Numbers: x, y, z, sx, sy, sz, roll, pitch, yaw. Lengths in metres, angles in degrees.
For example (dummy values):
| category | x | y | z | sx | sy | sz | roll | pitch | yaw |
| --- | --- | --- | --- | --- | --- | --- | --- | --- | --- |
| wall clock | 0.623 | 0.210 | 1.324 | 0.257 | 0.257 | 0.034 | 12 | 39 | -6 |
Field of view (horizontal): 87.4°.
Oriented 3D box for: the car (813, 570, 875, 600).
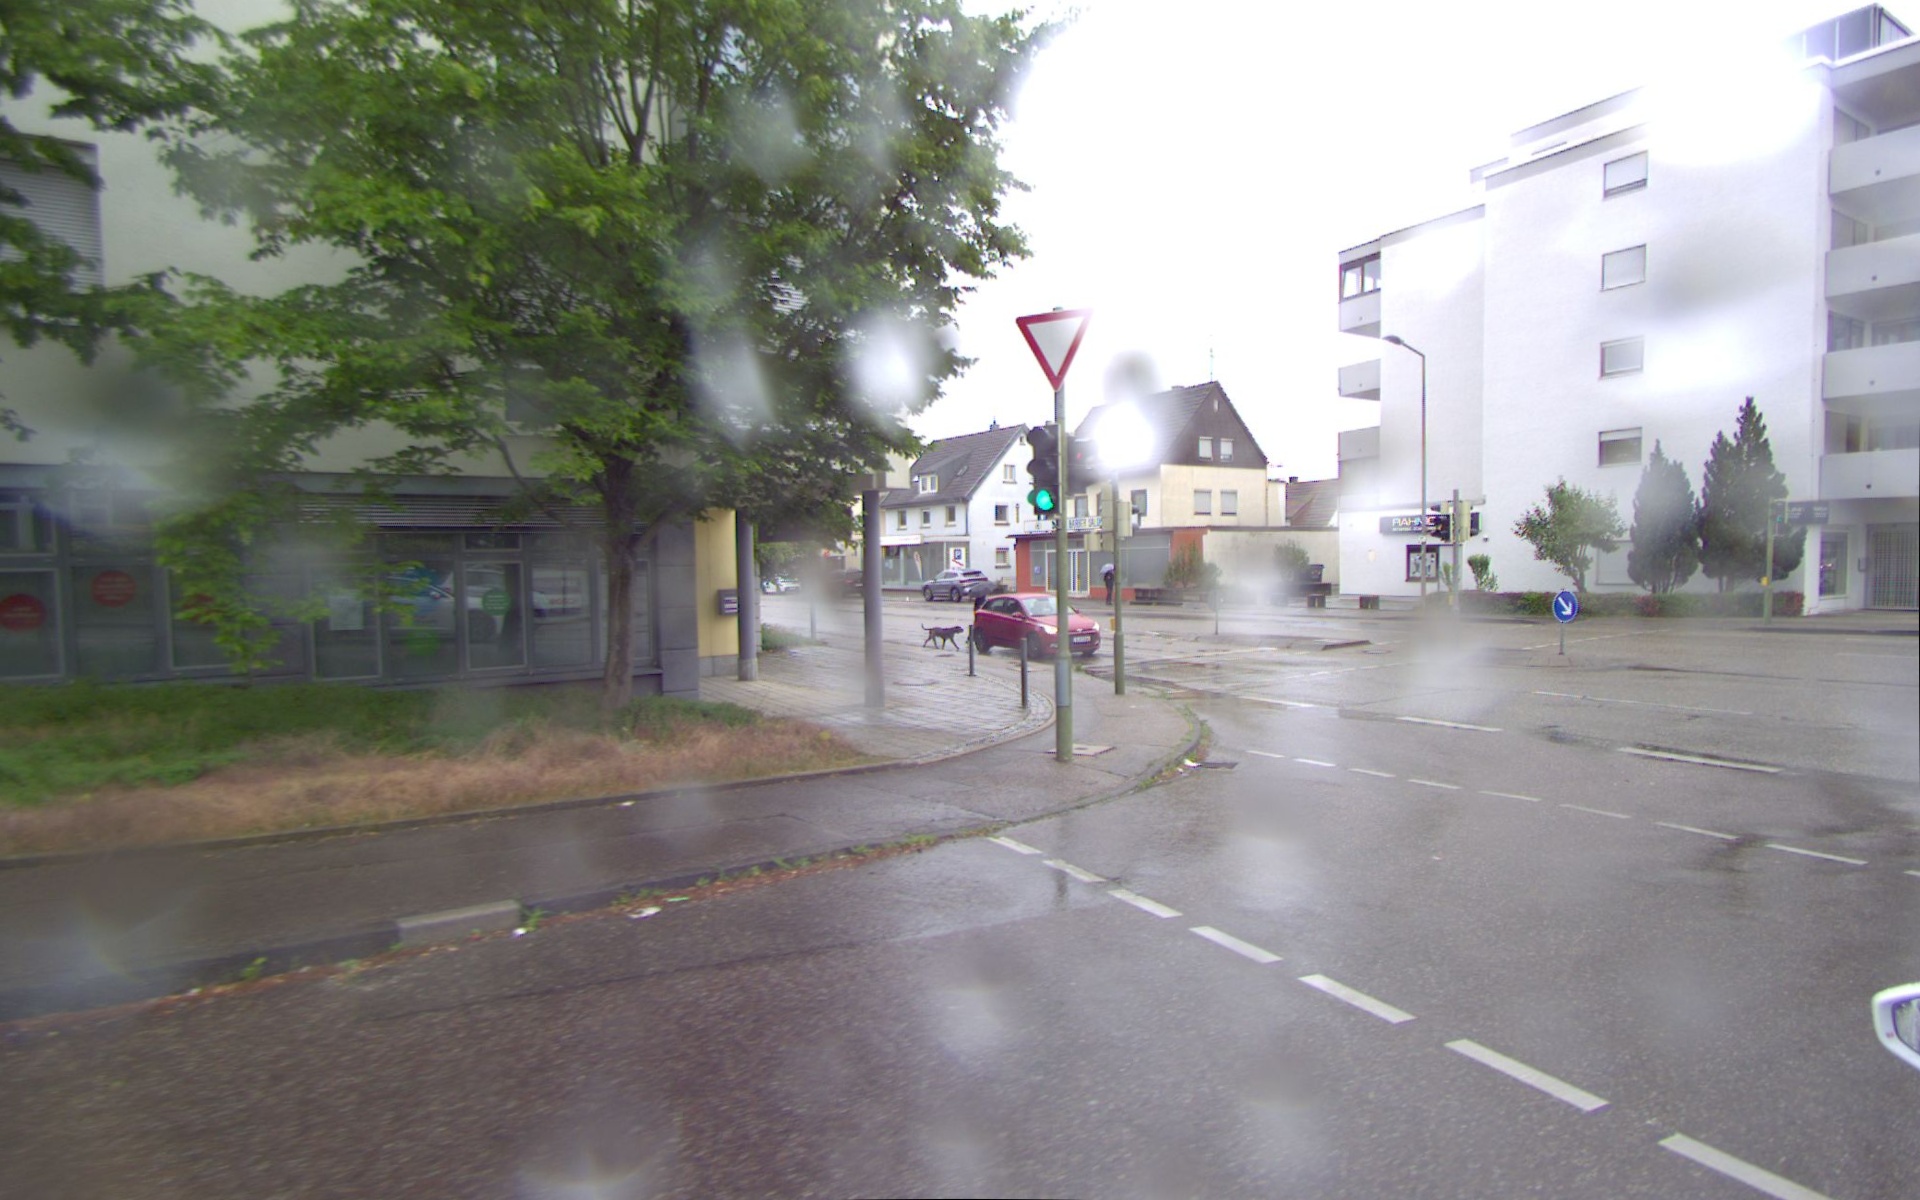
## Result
| category | x | y | z | sx | sy | sz | roll | pitch | yaw |
| --- | --- | --- | --- | --- | --- | --- | --- | --- | --- |
| car | -7.625 | -0.964 | 65.721 | 2.020 | 1.718 | 4.917 | -5 | 3 | -33 |

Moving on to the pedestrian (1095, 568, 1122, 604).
| category | x | y | z | sx | sy | sz | roll | pitch | yaw |
| --- | --- | --- | --- | --- | --- | --- | --- | --- | --- |
| pedestrian | 6.684 | -0.634 | 45.235 | 0.746 | 1.589 | 0.985 | 0 | 0 | -30 |

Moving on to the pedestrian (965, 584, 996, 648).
| category | x | y | z | sx | sy | sz | roll | pitch | yaw |
| --- | --- | --- | --- | --- | --- | --- | --- | --- | --- |
| pedestrian | 0.559 | 0.416 | 27.617 | 0.657 | 1.725 | 0.945 | -1 | 1 | -11 |

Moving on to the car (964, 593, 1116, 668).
| category | x | y | z | sx | sy | sz | roll | pitch | yaw |
| --- | --- | --- | --- | --- | --- | --- | --- | --- | --- |
| car | 1.880 | 0.666 | 24.804 | 1.759 | 1.527 | 4.073 | -5 | 3 | -28 |

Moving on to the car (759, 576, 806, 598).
| category | x | y | z | sx | sy | sz | roll | pitch | yaw |
| --- | --- | --- | --- | --- | --- | --- | --- | --- | --- |
| car | -13.012 | -0.955 | 73.482 | 1.802 | 1.468 | 4.162 | -5 | 4 | -35 |

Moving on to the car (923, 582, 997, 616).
| category | x | y | z | sx | sy | sz | roll | pitch | yaw |
| --- | --- | --- | --- | --- | --- | --- | --- | --- | --- |
| car | -0.063 | -0.101 | 55.194 | 1.858 | 1.665 | 4.754 | -5 | 3 | -30 |
